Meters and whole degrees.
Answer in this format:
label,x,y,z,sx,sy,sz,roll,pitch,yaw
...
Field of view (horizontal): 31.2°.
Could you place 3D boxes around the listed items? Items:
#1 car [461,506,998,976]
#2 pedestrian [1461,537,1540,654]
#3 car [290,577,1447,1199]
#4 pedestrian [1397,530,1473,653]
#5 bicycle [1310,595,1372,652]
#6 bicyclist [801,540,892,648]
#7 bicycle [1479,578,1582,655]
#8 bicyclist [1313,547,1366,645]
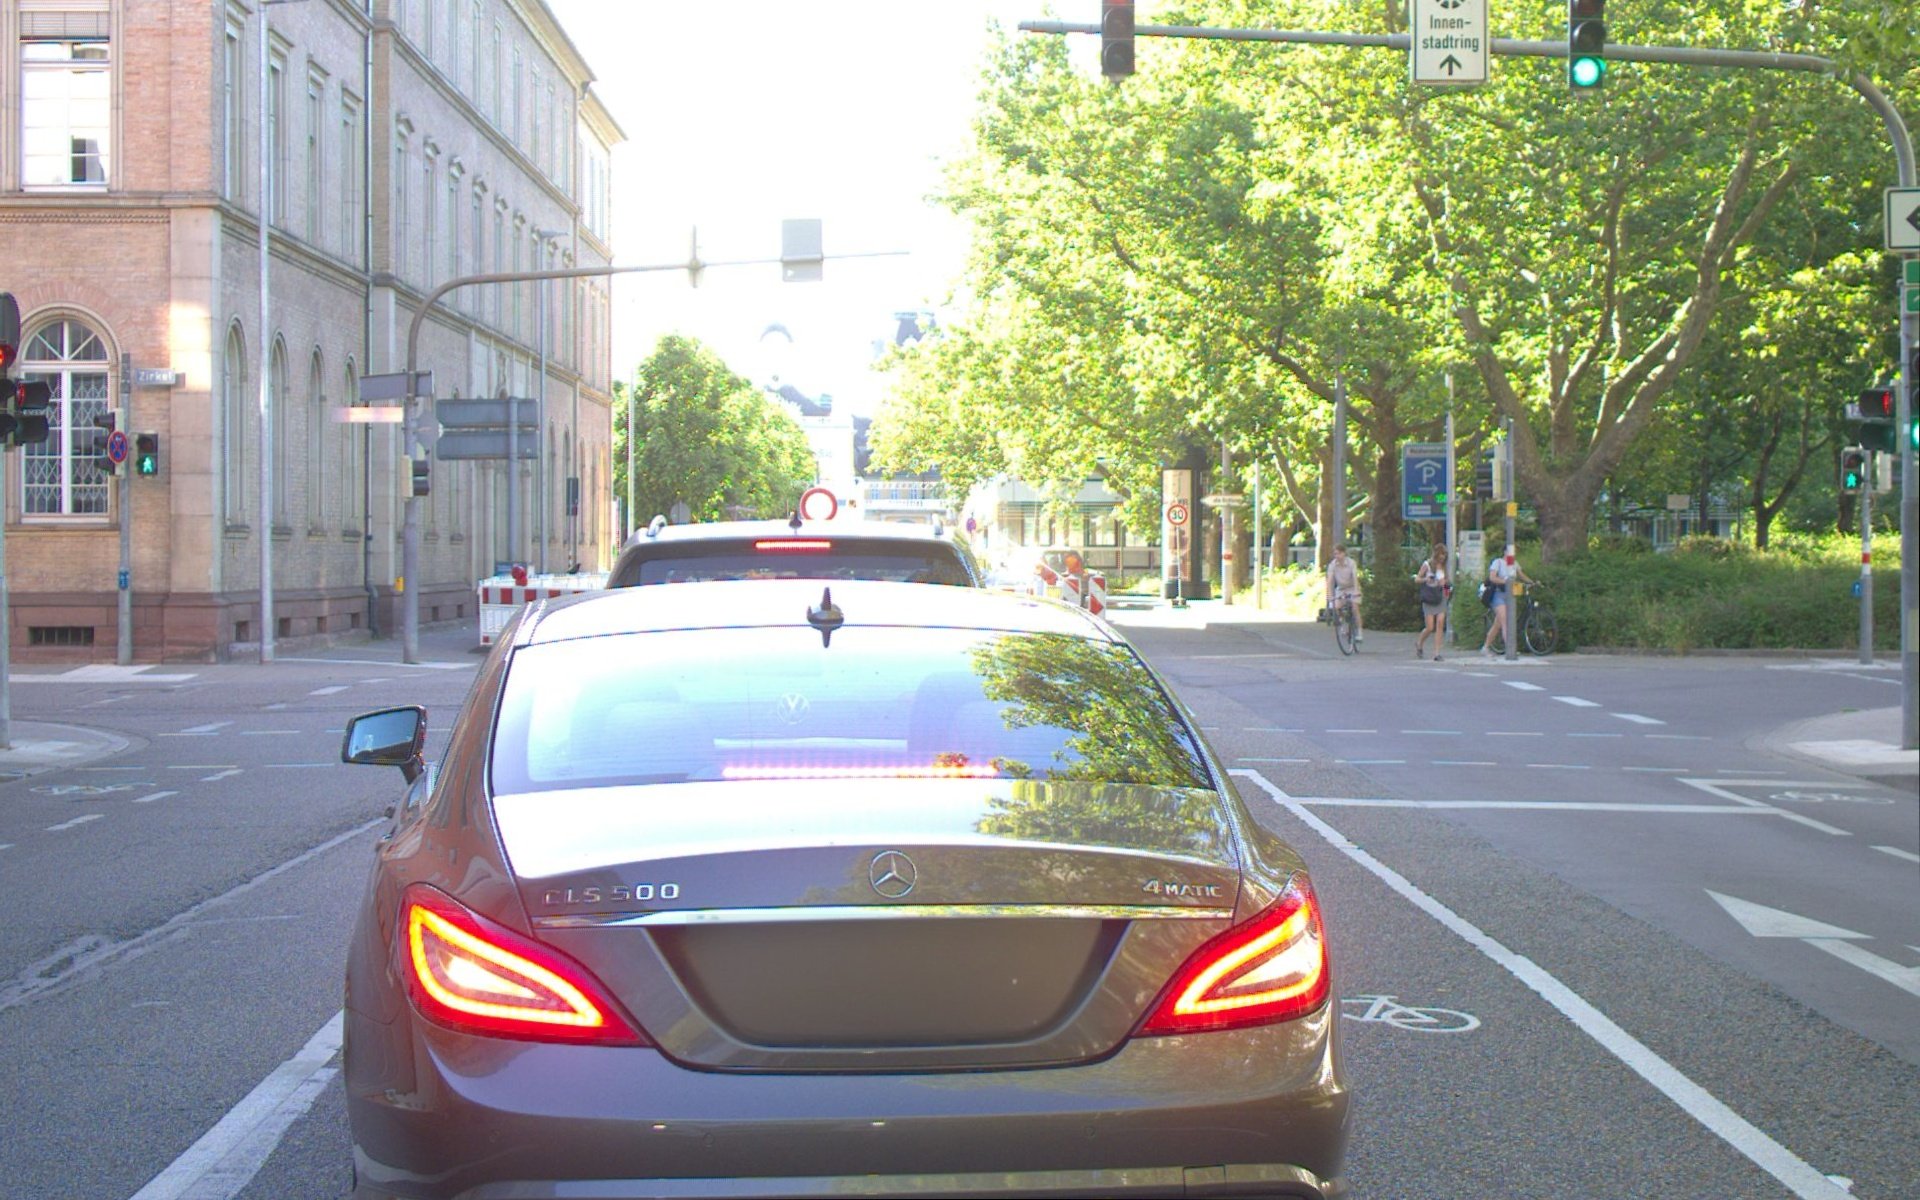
label,x,y,z,sx,sy,sz,roll,pitch,yaw
car,-0.769,0.466,13.795,1.809,1.607,4.000,0,1,1
pedestrian,7.964,-0.070,50.679,0.683,1.691,0.971,1,0,-26
car,-0.404,0.683,7.733,1.842,1.424,4.518,1,1,-7
pedestrian,7.035,-0.123,50.942,0.732,1.802,0.909,0,-1,-21
bicycle,6.120,0.364,55.220,0.548,0.888,1.866,1,1,20
bicyclist,-1.592,-0.085,48.139,0.950,1.495,0.822,0,1,-36
bicycle,8.419,0.236,50.810,0.524,1.096,1.741,1,1,-28
bicyclist,6.078,-0.061,55.086,0.649,1.553,0.806,1,0,20
